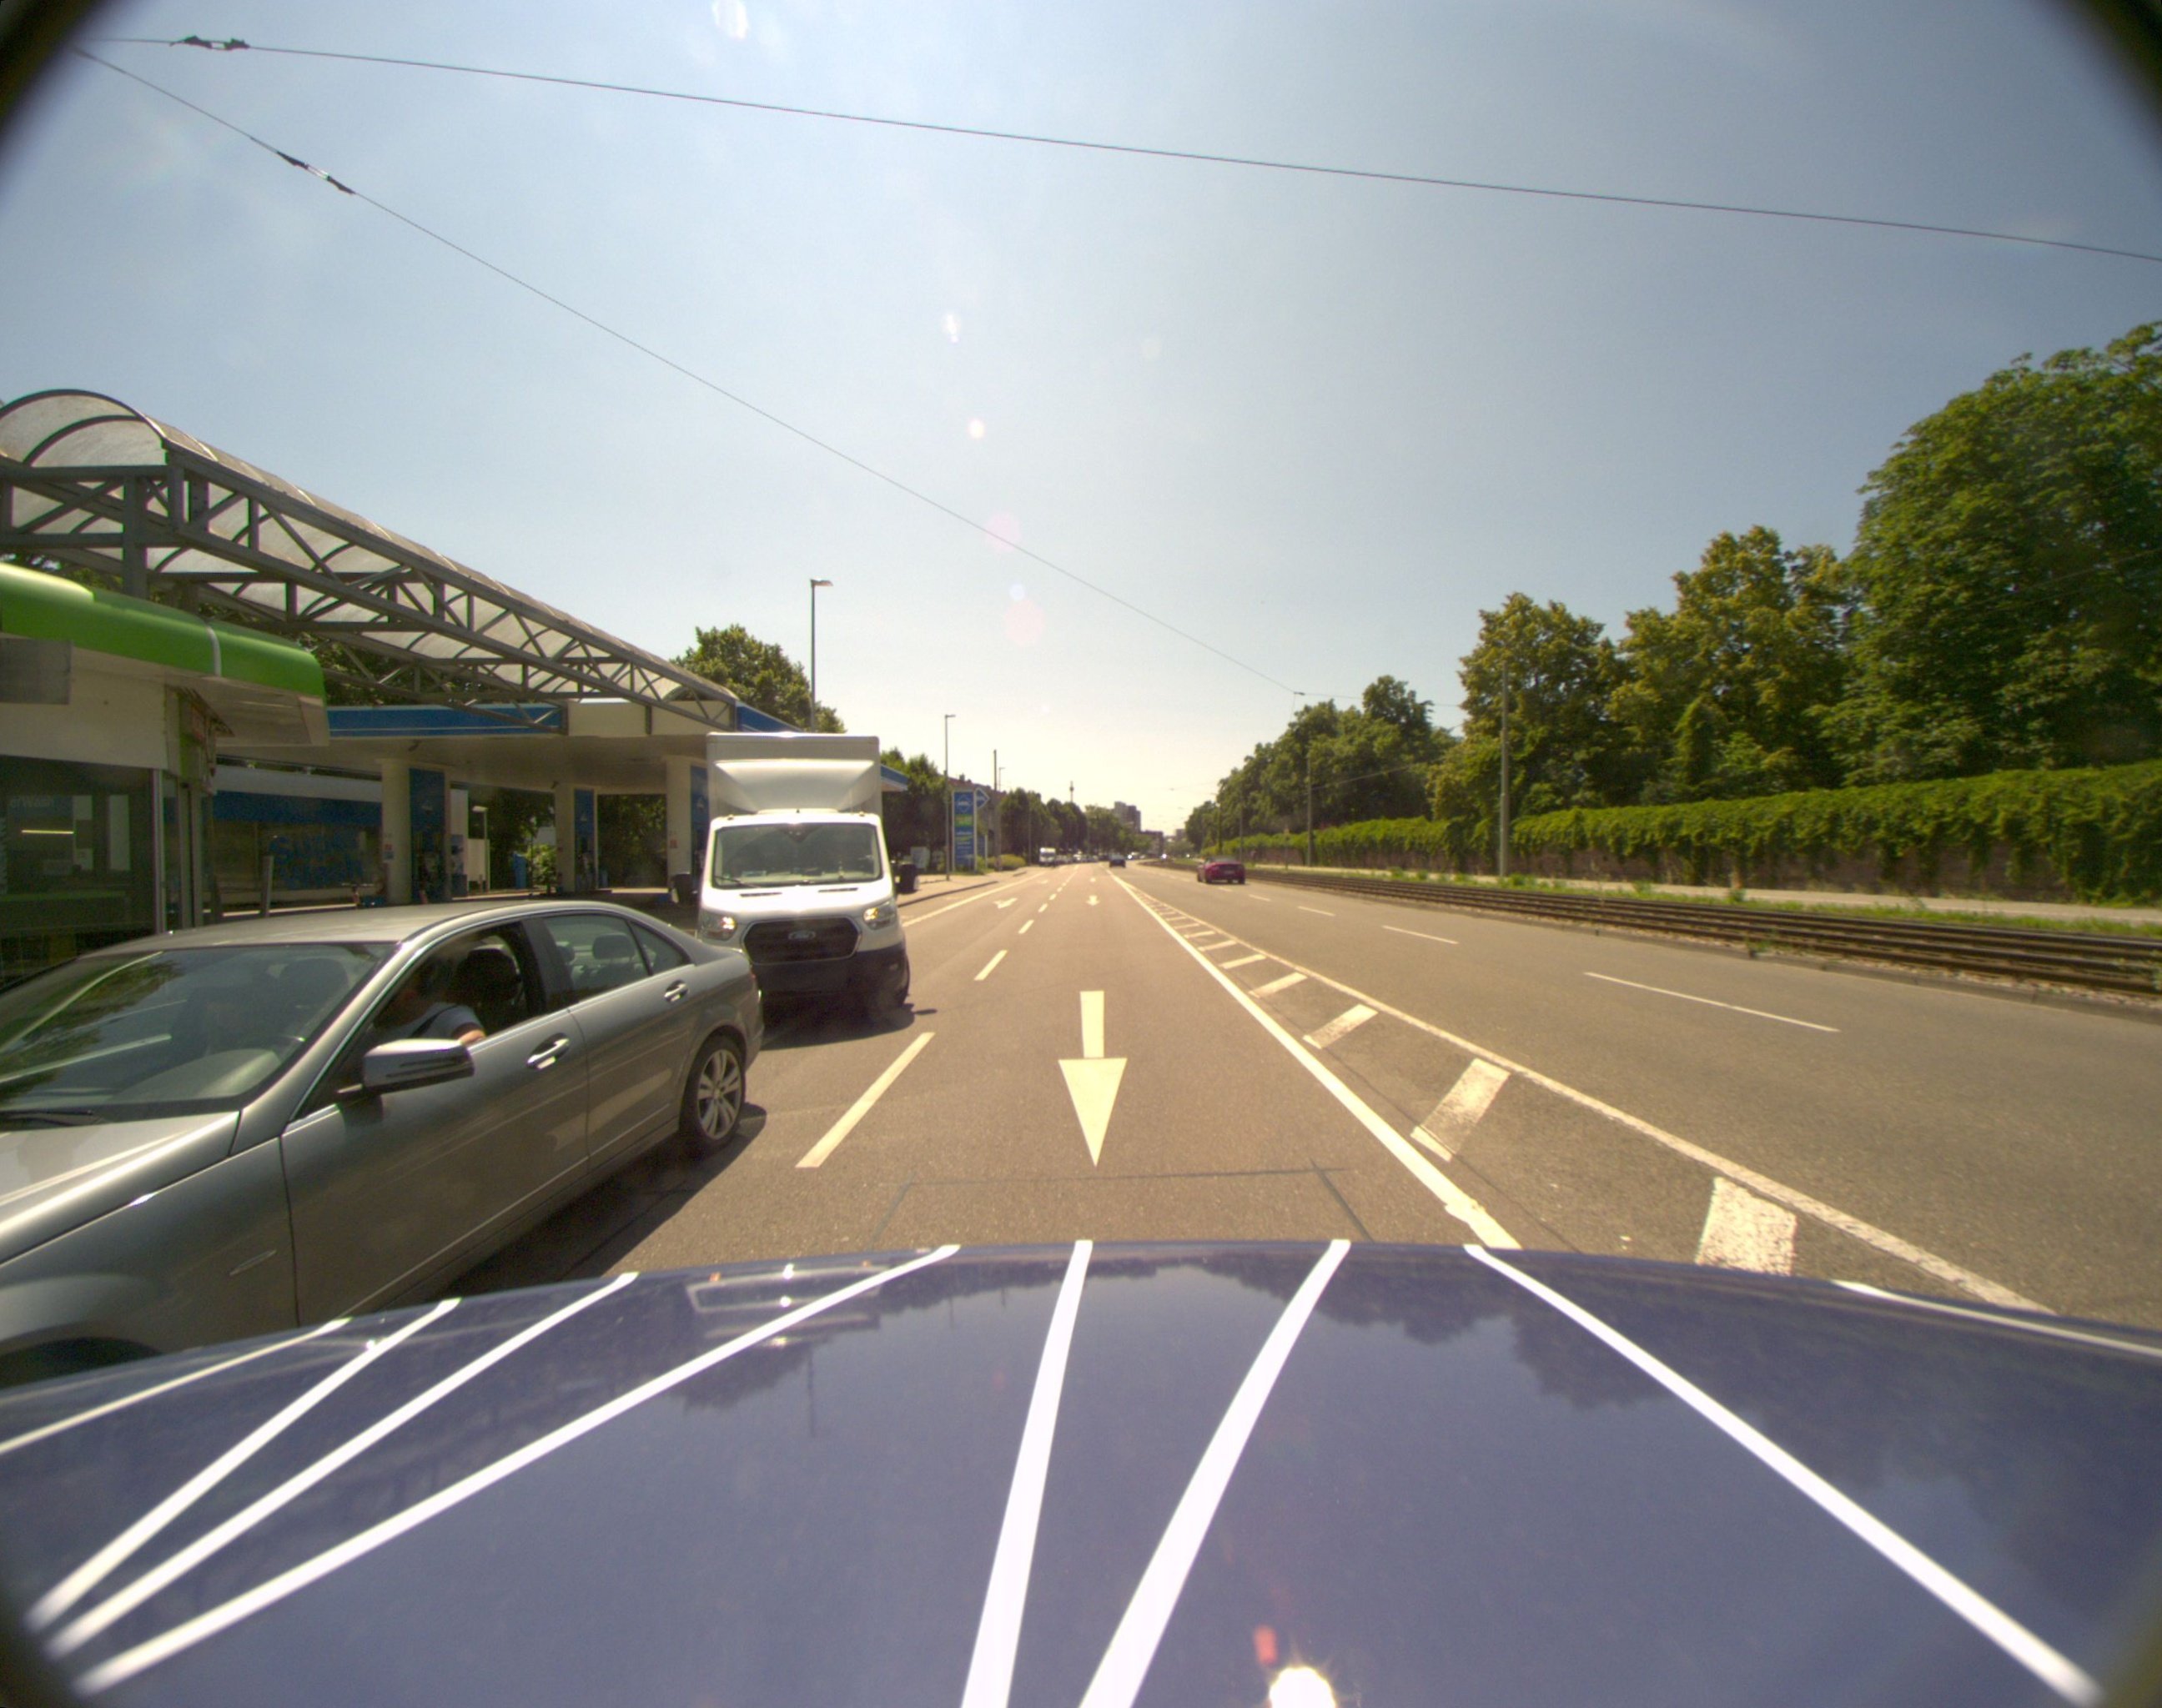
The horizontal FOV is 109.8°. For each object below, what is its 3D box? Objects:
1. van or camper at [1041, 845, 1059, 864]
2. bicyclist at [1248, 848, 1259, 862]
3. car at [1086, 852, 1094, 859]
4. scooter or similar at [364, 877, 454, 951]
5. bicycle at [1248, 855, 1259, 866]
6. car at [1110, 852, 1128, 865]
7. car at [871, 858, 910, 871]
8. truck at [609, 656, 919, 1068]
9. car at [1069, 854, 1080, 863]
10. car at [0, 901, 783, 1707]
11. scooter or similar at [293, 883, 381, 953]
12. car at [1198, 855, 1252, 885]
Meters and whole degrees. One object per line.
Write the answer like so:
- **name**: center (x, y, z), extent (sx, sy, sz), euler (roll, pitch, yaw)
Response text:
- **van or camper**: center (-4.056, 0.037, 100.590), extent (2.126, 2.469, 5.993), euler (2, 0, 0)
- **bicyclist**: center (18.081, 0.103, 79.622), extent (0.996, 1.477, 1.000), euler (-1, 1, 6)
- **car**: center (1.989, 0.291, 169.373), extent (1.806, 1.585, 4.000), euler (-1, 0, 1)
- **scooter or similar**: center (-11.662, 1.034, 13.202), extent (1.176, 1.233, 0.411), euler (-1, 1, 2)
- **bicycle**: center (18.110, 0.652, 79.859), extent (0.830, 1.149, 2.686), euler (-1, 0, 7)
- **car**: center (4.345, 0.491, 88.508), extent (1.798, 1.391, 4.447), euler (0, 0, -1)
- **car**: center (-23.832, 1.302, 94.967), extent (4.221, 1.512, 2.001), euler (-1, 0, 8)
- **truck**: center (-3.957, 0.062, 10.311), extent (2.430, 3.372, 7.820), euler (-1, 0, -19)
- **car**: center (-1.259, 0.850, 149.379), extent (1.725, 1.586, 4.001), euler (-1, 0, 3)
- **car**: center (-2.903, 1.045, 2.717), extent (1.800, 1.441, 4.418), euler (-1, 0, 2)
- **scooter or similar**: center (-12.896, 1.097, 13.176), extent (1.138, 1.170, 0.384), euler (-1, 1, 2)
- **car**: center (7.178, 0.765, 38.369), extent (1.989, 1.350, 4.538), euler (-1, 0, 2)
